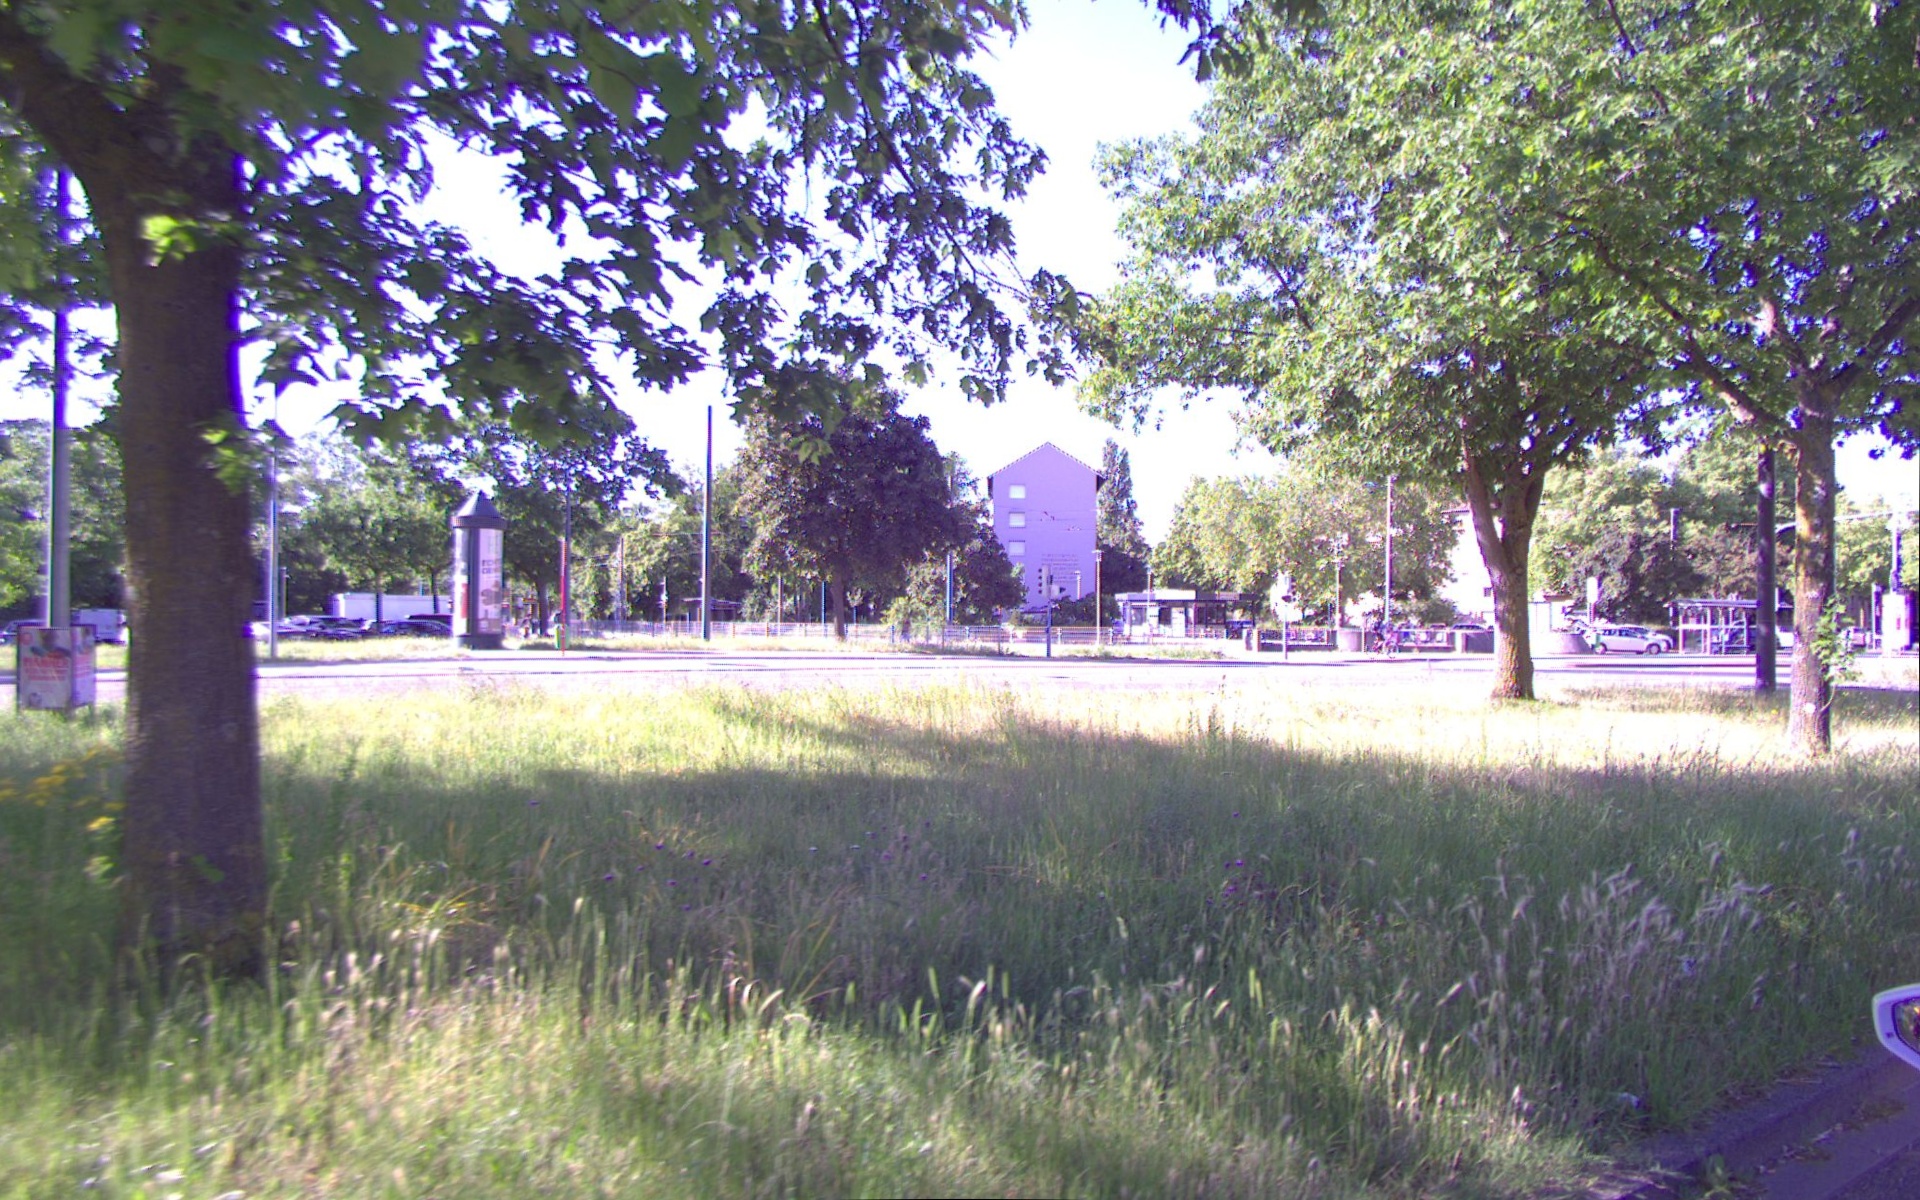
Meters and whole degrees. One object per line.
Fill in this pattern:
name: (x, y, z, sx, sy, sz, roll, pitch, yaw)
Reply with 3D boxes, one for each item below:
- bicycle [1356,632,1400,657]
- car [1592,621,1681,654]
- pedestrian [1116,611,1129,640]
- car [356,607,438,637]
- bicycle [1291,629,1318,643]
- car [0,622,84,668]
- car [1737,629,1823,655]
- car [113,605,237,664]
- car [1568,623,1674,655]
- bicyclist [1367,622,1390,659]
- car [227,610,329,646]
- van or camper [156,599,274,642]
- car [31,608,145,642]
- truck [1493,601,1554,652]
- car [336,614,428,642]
bicycle: (17.656, 1.864, 42.435, 1.626, 1.014, 0.614, 0, 1, -2)
car: (38.522, 2.114, 57.279, 3.923, 1.741, 1.762, 0, 2, -3)
pedestrian: (10.718, 1.670, 66.304, 0.714, 1.853, 0.558, 1, -1, -9)
car: (-34.050, 1.332, 60.816, 1.851, 1.742, 3.951, 0, -1, 35)
bicycle: (22.638, 2.343, 65.940, 1.652, 0.850, 0.548, 0, -1, 17)
car: (-38.944, 1.853, 42.326, 1.627, 1.628, 3.870, 2, 2, -17)
car: (52.728, 2.665, 64.647, 1.980, 1.593, 3.961, 1, -2, -35)
car: (-28.860, 1.212, 36.895, 4.916, 2.040, 2.233, 0, -1, 35)
car: (36.140, 2.099, 55.039, 4.457, 1.565, 1.873, 1, 2, 13)
bicyclist: (17.683, 1.706, 42.440, 0.663, 1.551, 0.614, 0, 1, -2)
car: (-26.661, 1.060, 39.256, 3.933, 1.299, 1.994, 0, -1, 34)
van or camper: (-37.780, 1.048, 51.031, 4.327, 2.124, 1.994, 1, -1, -14)
car: (-44.586, 1.257, 51.483, 3.943, 1.530, 1.989, -2, 0, -24)
truck: (34.879, 1.590, 62.304, 1.959, 3.035, 4.831, 0, 0, 12)
car: (-30.495, 1.466, 53.062, 3.969, 1.433, 1.750, 1, -1, -42)
